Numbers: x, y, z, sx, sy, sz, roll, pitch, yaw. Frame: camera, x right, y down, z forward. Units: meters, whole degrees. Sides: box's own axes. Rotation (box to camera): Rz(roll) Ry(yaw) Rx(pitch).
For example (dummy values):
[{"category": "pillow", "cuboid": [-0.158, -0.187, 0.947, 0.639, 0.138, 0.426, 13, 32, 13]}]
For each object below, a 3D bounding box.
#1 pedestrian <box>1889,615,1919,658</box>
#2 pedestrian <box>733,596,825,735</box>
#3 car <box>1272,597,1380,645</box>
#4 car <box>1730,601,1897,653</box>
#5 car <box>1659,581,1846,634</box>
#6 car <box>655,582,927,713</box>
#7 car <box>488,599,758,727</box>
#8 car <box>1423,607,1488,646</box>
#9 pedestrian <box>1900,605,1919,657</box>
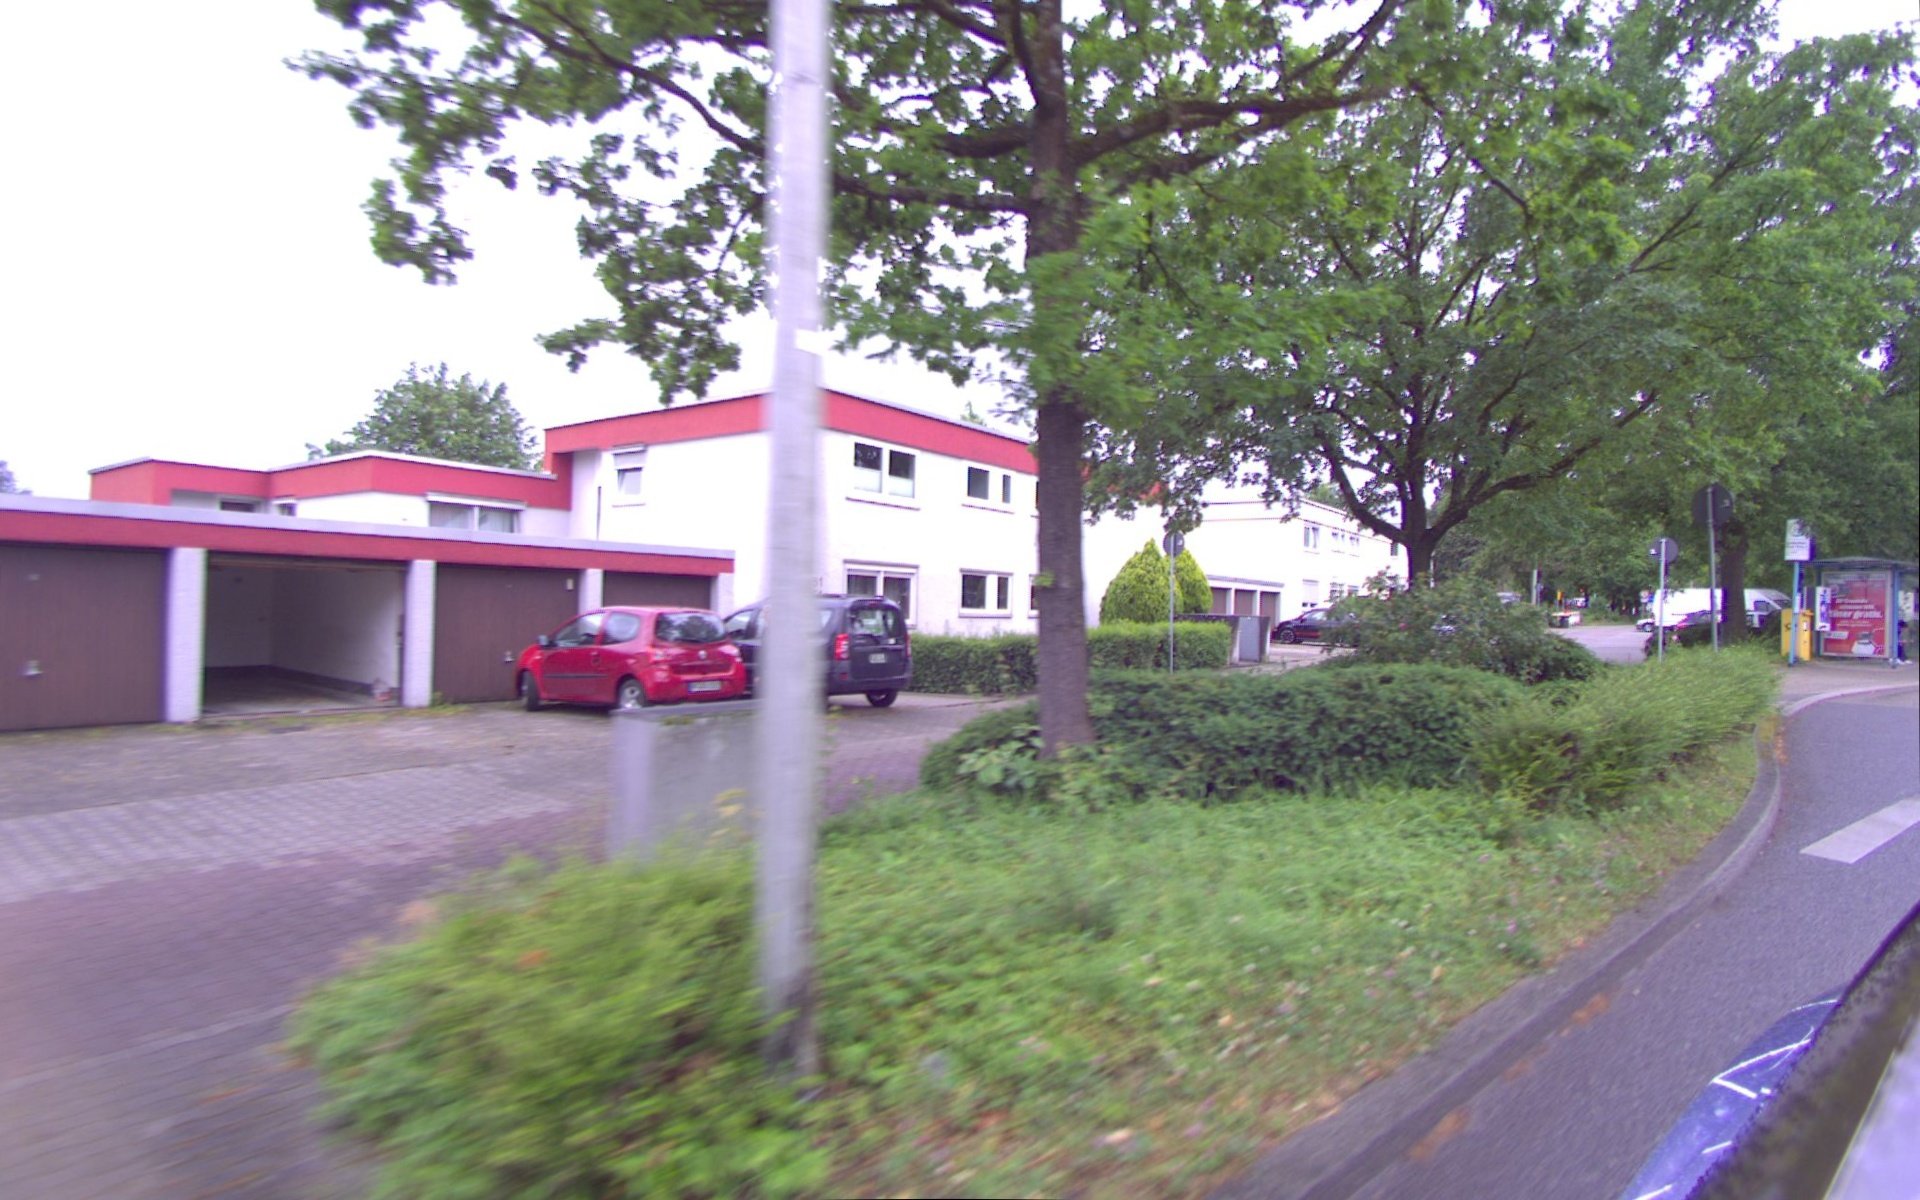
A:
[{"category": "pedestrian", "cuboid": [23.005, 0.878, 24.394, 0.540, 1.024, 0.752, 1, 0, -27]}, {"category": "pedestrian", "cuboid": [-2.171, 0.756, 12.177, 0.661, 1.577, 0.833, 2, 0, 32]}, {"category": "car", "cuboid": [14.378, 0.799, 39.797, 3.600, 1.551, 1.740, 4, 2, 35]}, {"category": "car", "cuboid": [26.881, 0.813, 31.973, 1.724, 1.505, 3.662, 1, 0, -29]}, {"category": "car", "cuboid": [33.066, 0.242, 42.475, 1.959, 2.039, 5.848, 1, 1, -28]}, {"category": "car", "cuboid": [-2.647, 0.624, 15.526, 3.976, 1.743, 1.899, 1, 0, 36]}, {"category": "car", "cuboid": [-4.649, 0.749, 13.804, 3.682, 1.460, 1.685, 1, 0, 36]}, {"category": "car", "cuboid": [20.636, 1.066, 42.112, 1.684, 1.529, 3.773, 0, 0, 38]}, {"category": "pedestrian", "cuboid": [23.581, 0.760, 24.737, 0.540, 1.266, 0.730, 1, 0, -27]}]
